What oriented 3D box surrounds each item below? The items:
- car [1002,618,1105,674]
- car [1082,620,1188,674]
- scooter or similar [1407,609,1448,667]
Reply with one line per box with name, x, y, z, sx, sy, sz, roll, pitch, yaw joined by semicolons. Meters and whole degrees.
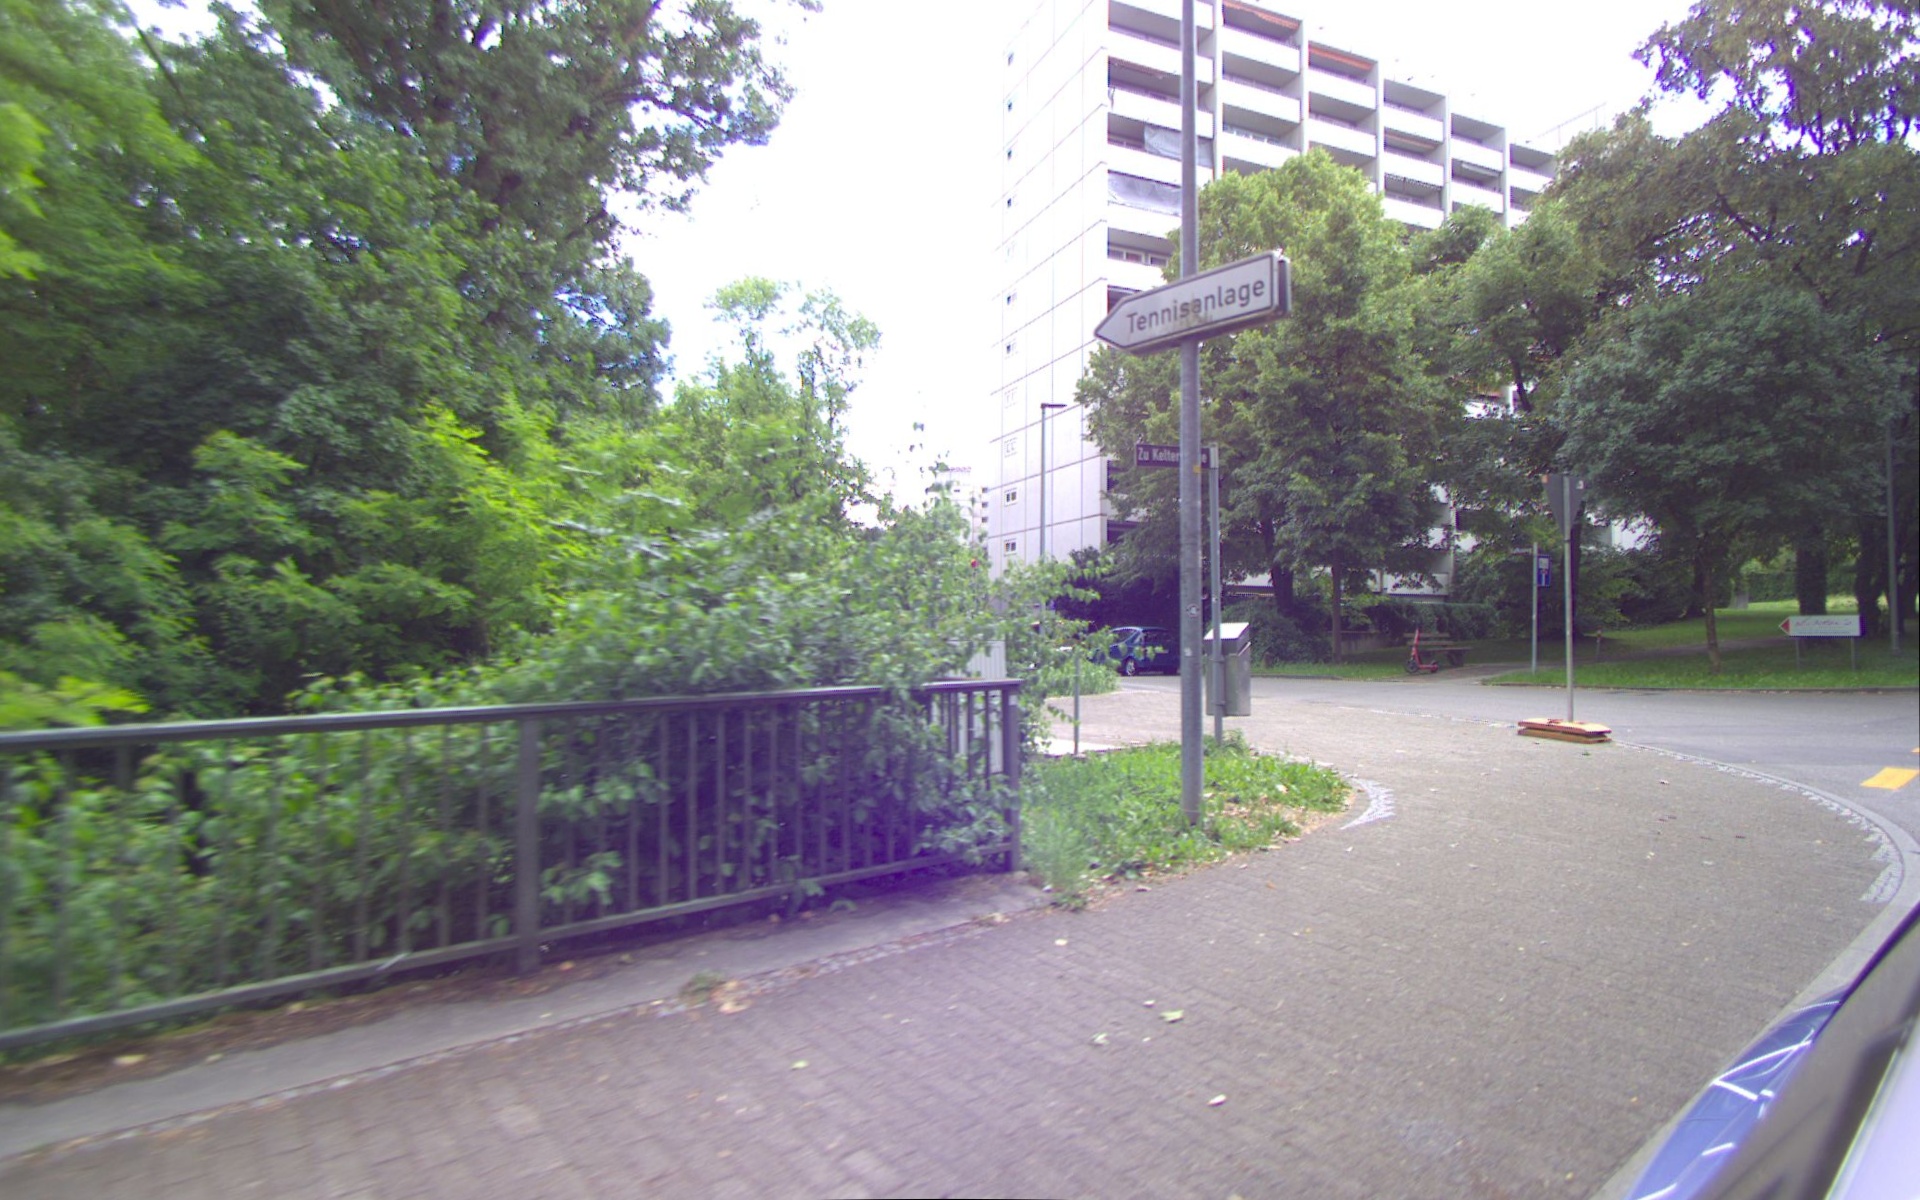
car;3.324;1.645;37.049;1.794;1.872;4.417;-1;-1;-24
car;5.533;1.453;32.379;1.794;1.590;3.534;-1;-1;-20
scooter or similar;10.999;0.886;23.808;1.086;1.303;0.284;-1;-1;-31
